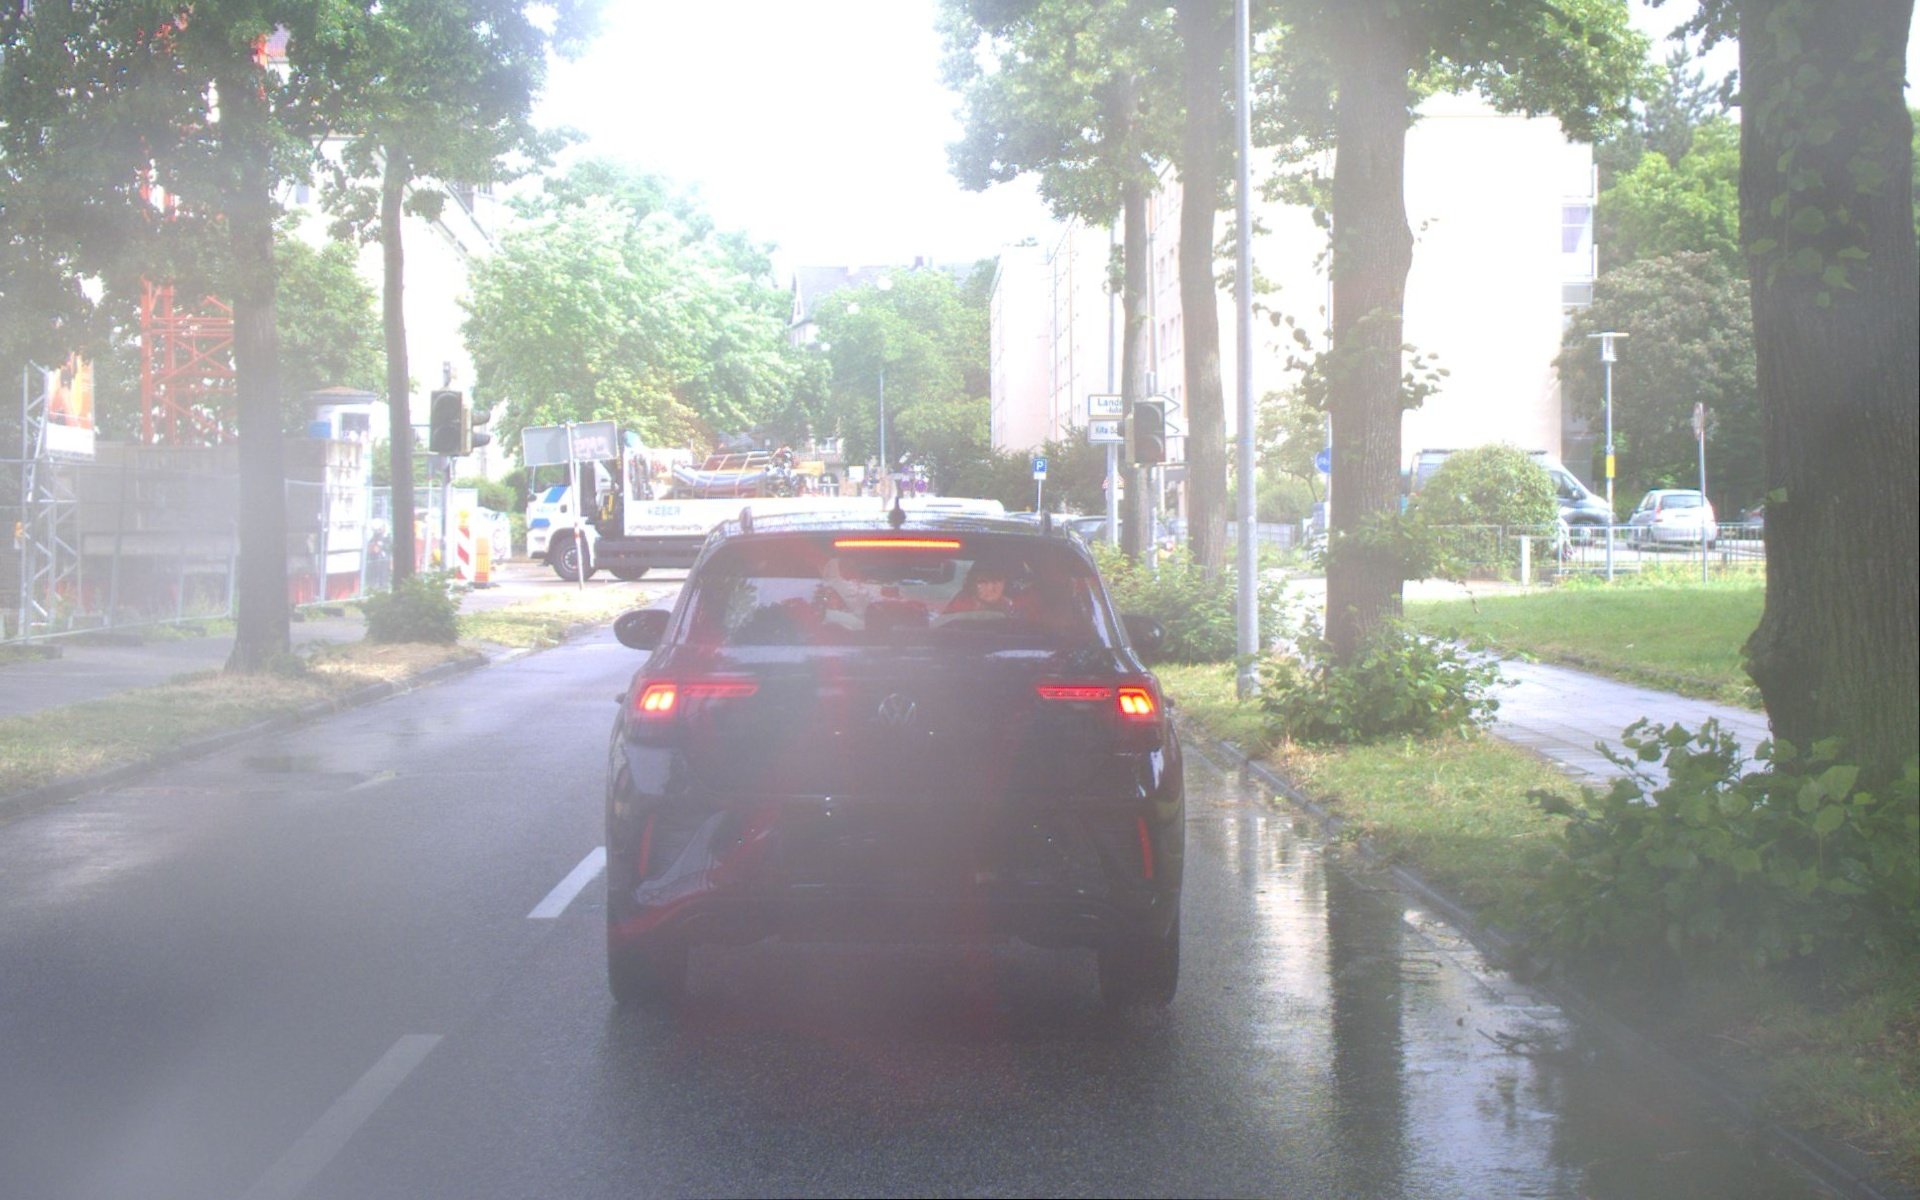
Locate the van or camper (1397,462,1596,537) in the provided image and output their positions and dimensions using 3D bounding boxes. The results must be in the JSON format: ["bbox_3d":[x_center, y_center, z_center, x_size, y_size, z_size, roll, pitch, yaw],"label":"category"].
[{"bbox_3d":[14.071,-2.653,90.303,4.874,1.919,2.131,0,2,0],"label":"van or camper"}]

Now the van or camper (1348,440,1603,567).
[{"bbox_3d":[10.903,-2.042,72.938,5.032,2.587,2.168,-1,1,-1],"label":"van or camper"}]

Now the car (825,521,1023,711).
[{"bbox_3d":[-0.301,0.115,34.114,1.680,1.702,3.909,-3,1,3],"label":"car"}]

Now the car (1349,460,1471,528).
[{"bbox_3d":[13.118,-3.087,100.230,3.408,1.775,1.759,-3,1,9],"label":"car"}]

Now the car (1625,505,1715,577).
[{"bbox_3d":[17.829,-1.498,86.497,1.743,1.678,3.870,-3,1,6],"label":"car"}]

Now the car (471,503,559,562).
[{"bbox_3d":[-12.488,-1.910,96.748,1.591,1.507,3.731,-3,2,6],"label":"car"}]

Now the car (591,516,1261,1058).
[{"bbox_3d":[-0.123,0.484,11.769,1.894,1.517,4.000,0,2,-1],"label":"car"}]

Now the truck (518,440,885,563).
[{"bbox_3d":[-5.900,-2.279,77.755,8.229,2.647,2.809,2,3,32],"label":"truck"}]

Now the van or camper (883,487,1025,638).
[{"bbox_3d":[-0.039,-0.549,46.616,1.819,1.941,4.195,1,2,1],"label":"van or camper"}]

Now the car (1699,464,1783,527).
[{"bbox_3d":[24.420,-3.262,107.611,1.867,1.850,3.809,-3,1,4],"label":"car"}]

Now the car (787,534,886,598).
[{"bbox_3d":[-3.502,-0.979,98.239,1.755,1.645,3.933,-3,1,13],"label":"car"}]

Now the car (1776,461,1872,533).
[{"bbox_3d":[25.814,-3.068,102.792,1.994,2.006,4.000,-3,1,4],"label":"car"}]

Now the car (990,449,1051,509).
[{"bbox_3d":[2.074,-4.135,118.441,1.993,2.007,4.000,0,1,-1],"label":"car"}]

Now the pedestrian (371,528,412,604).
[{"bbox_3d":[-11.332,-0.685,68.484,0.660,1.480,0.673,-1,2,-25],"label":"pedestrian"}]
